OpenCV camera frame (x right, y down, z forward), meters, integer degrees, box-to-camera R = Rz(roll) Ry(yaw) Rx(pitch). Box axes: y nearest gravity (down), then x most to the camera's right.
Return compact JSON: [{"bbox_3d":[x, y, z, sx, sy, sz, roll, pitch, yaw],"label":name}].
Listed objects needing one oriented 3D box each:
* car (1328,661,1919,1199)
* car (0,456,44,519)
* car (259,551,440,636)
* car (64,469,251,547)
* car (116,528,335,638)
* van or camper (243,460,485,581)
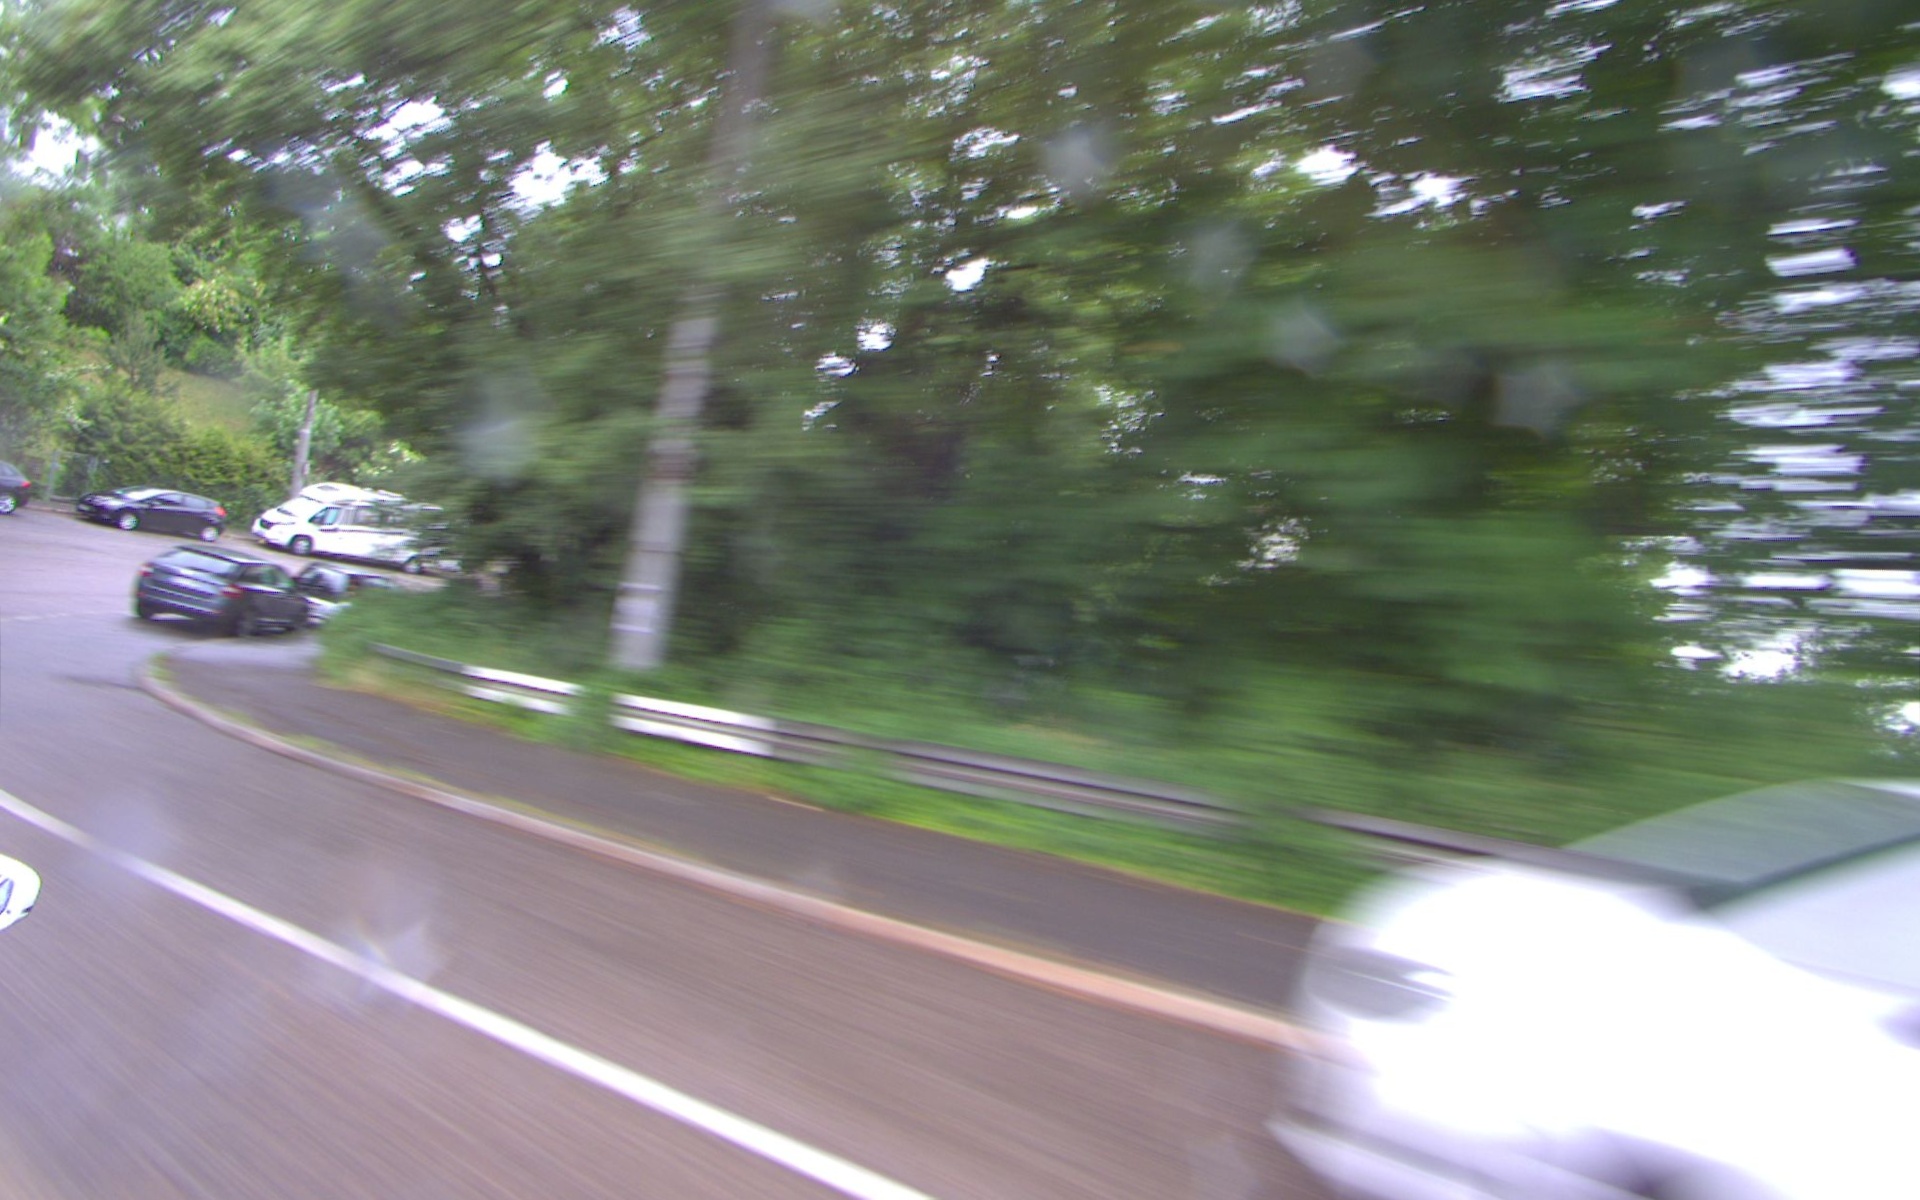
[{"bbox_3d":[2.899,1.177,2.432,3.600,1.519,1.591,7,-2,24],"label":"car"},{"bbox_3d":[-27.045,-3.328,26.311,1.752,1.480,4.318,14,-1,6],"label":"car"},{"bbox_3d":[-14.355,-0.081,23.920,1.661,1.421,3.733,14,-2,3],"label":"car"},{"bbox_3d":[-25.830,-2.906,32.581,1.727,1.369,4.320,14,-1,20],"label":"car"},{"bbox_3d":[-13.644,-0.254,19.008,1.632,1.478,4.025,14,-4,-13],"label":"car"},{"bbox_3d":[-22.877,-2.928,39.189,2.164,2.964,7.661,14,0,30],"label":"van or camper"}]
